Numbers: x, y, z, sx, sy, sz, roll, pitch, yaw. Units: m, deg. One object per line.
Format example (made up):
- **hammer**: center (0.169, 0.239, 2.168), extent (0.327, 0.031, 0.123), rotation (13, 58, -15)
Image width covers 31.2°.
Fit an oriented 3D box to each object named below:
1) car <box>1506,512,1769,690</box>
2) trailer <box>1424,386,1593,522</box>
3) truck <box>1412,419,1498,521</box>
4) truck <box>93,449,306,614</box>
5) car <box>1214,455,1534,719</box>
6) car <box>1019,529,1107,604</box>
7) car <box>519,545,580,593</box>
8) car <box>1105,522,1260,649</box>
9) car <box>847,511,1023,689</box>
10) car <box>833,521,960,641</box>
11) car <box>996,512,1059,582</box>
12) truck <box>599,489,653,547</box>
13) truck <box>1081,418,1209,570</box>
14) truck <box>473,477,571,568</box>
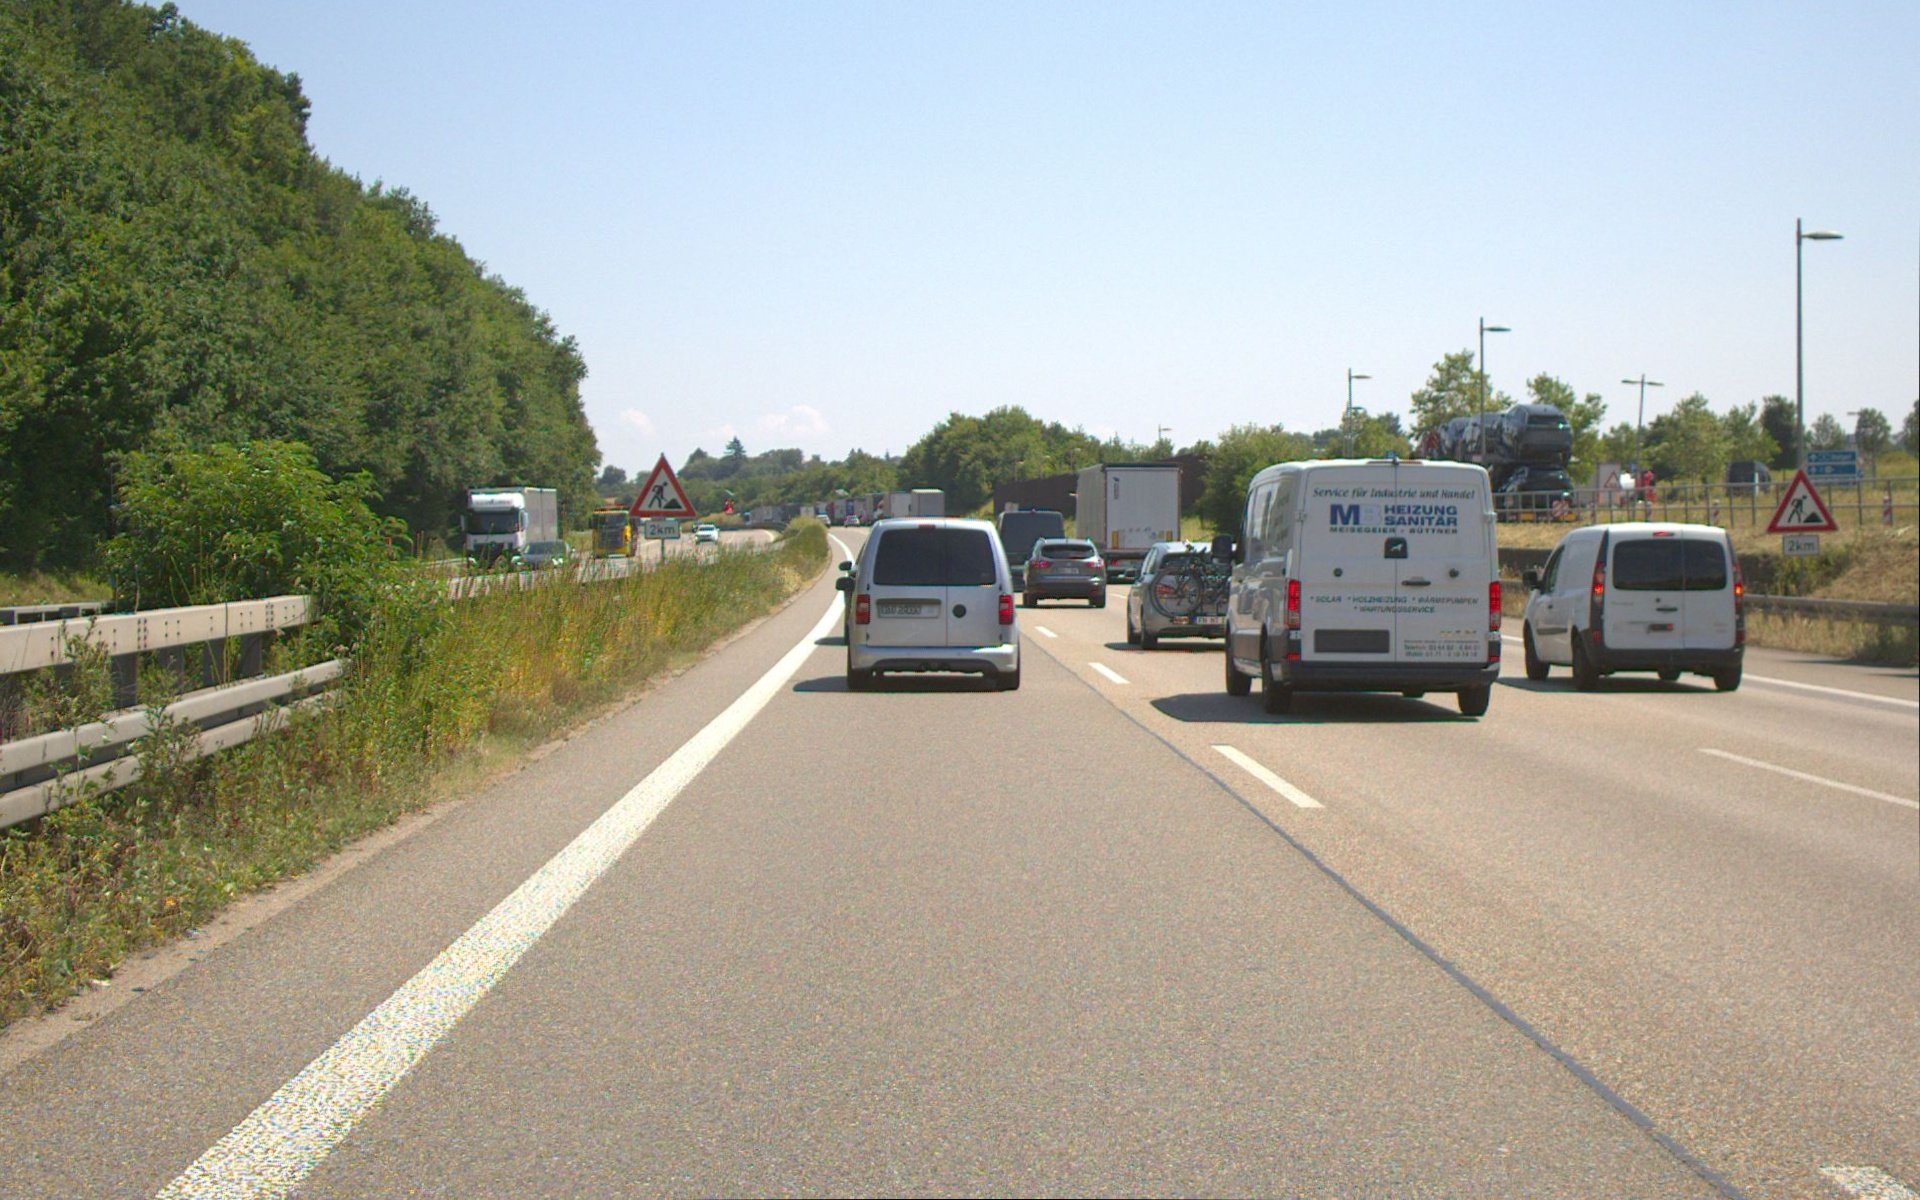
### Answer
- **car**: center (7.436, -0.018, 38.138), extent (1.950, 1.831, 4.179), rotation (-1, 1, -2)
- **trailer**: center (19.284, -4.996, 122.253), extent (2.605, 4.243, 18.423), rotation (1, 1, -1)
- **truck**: center (19.067, -4.982, 132.607), extent (2.602, 3.814, 4.000), rotation (1, 1, -1)
- **truck**: center (-18.702, -1.680, 85.307), extent (2.996, 3.789, 10.790), rotation (-1, 1, -1)
- **car**: center (3.757, -0.148, 32.205), extent (2.181, 2.246, 5.364), rotation (1, 1, -2)
- **car**: center (2.341, -0.779, 79.191), extent (1.902, 1.666, 4.088), rotation (-1, 1, 0)
- **car**: center (-15.117, -1.157, 126.820), extent (1.724, 1.650, 4.861), rotation (-2, 1, -1)
- **car**: center (3.165, -0.231, 49.672), extent (1.976, 1.727, 4.088), rotation (-1, 1, 0)
- **car**: center (-0.239, -0.025, 36.573), extent (1.745, 1.758, 4.088), rotation (-1, 1, 0)
- **car**: center (-0.921, -0.300, 51.689), extent (1.745, 1.695, 4.088), rotation (-1, 1, 1)
- **car**: center (1.887, -1.491, 96.707), extent (1.674, 1.885, 4.088), rotation (-1, 1, 0)
- **truck**: center (-22.289, -5.435, 229.569), extent (2.782, 3.726, 11.159), rotation (1, 1, -2)
- **truck**: center (6.347, -3.606, 120.221), extent (3.788, 4.982, 12.519), rotation (1, 1, 0)
- **truck**: center (-20.000, -3.525, 157.556), extent (3.453, 3.980, 11.125), rotation (-1, 1, -2)
